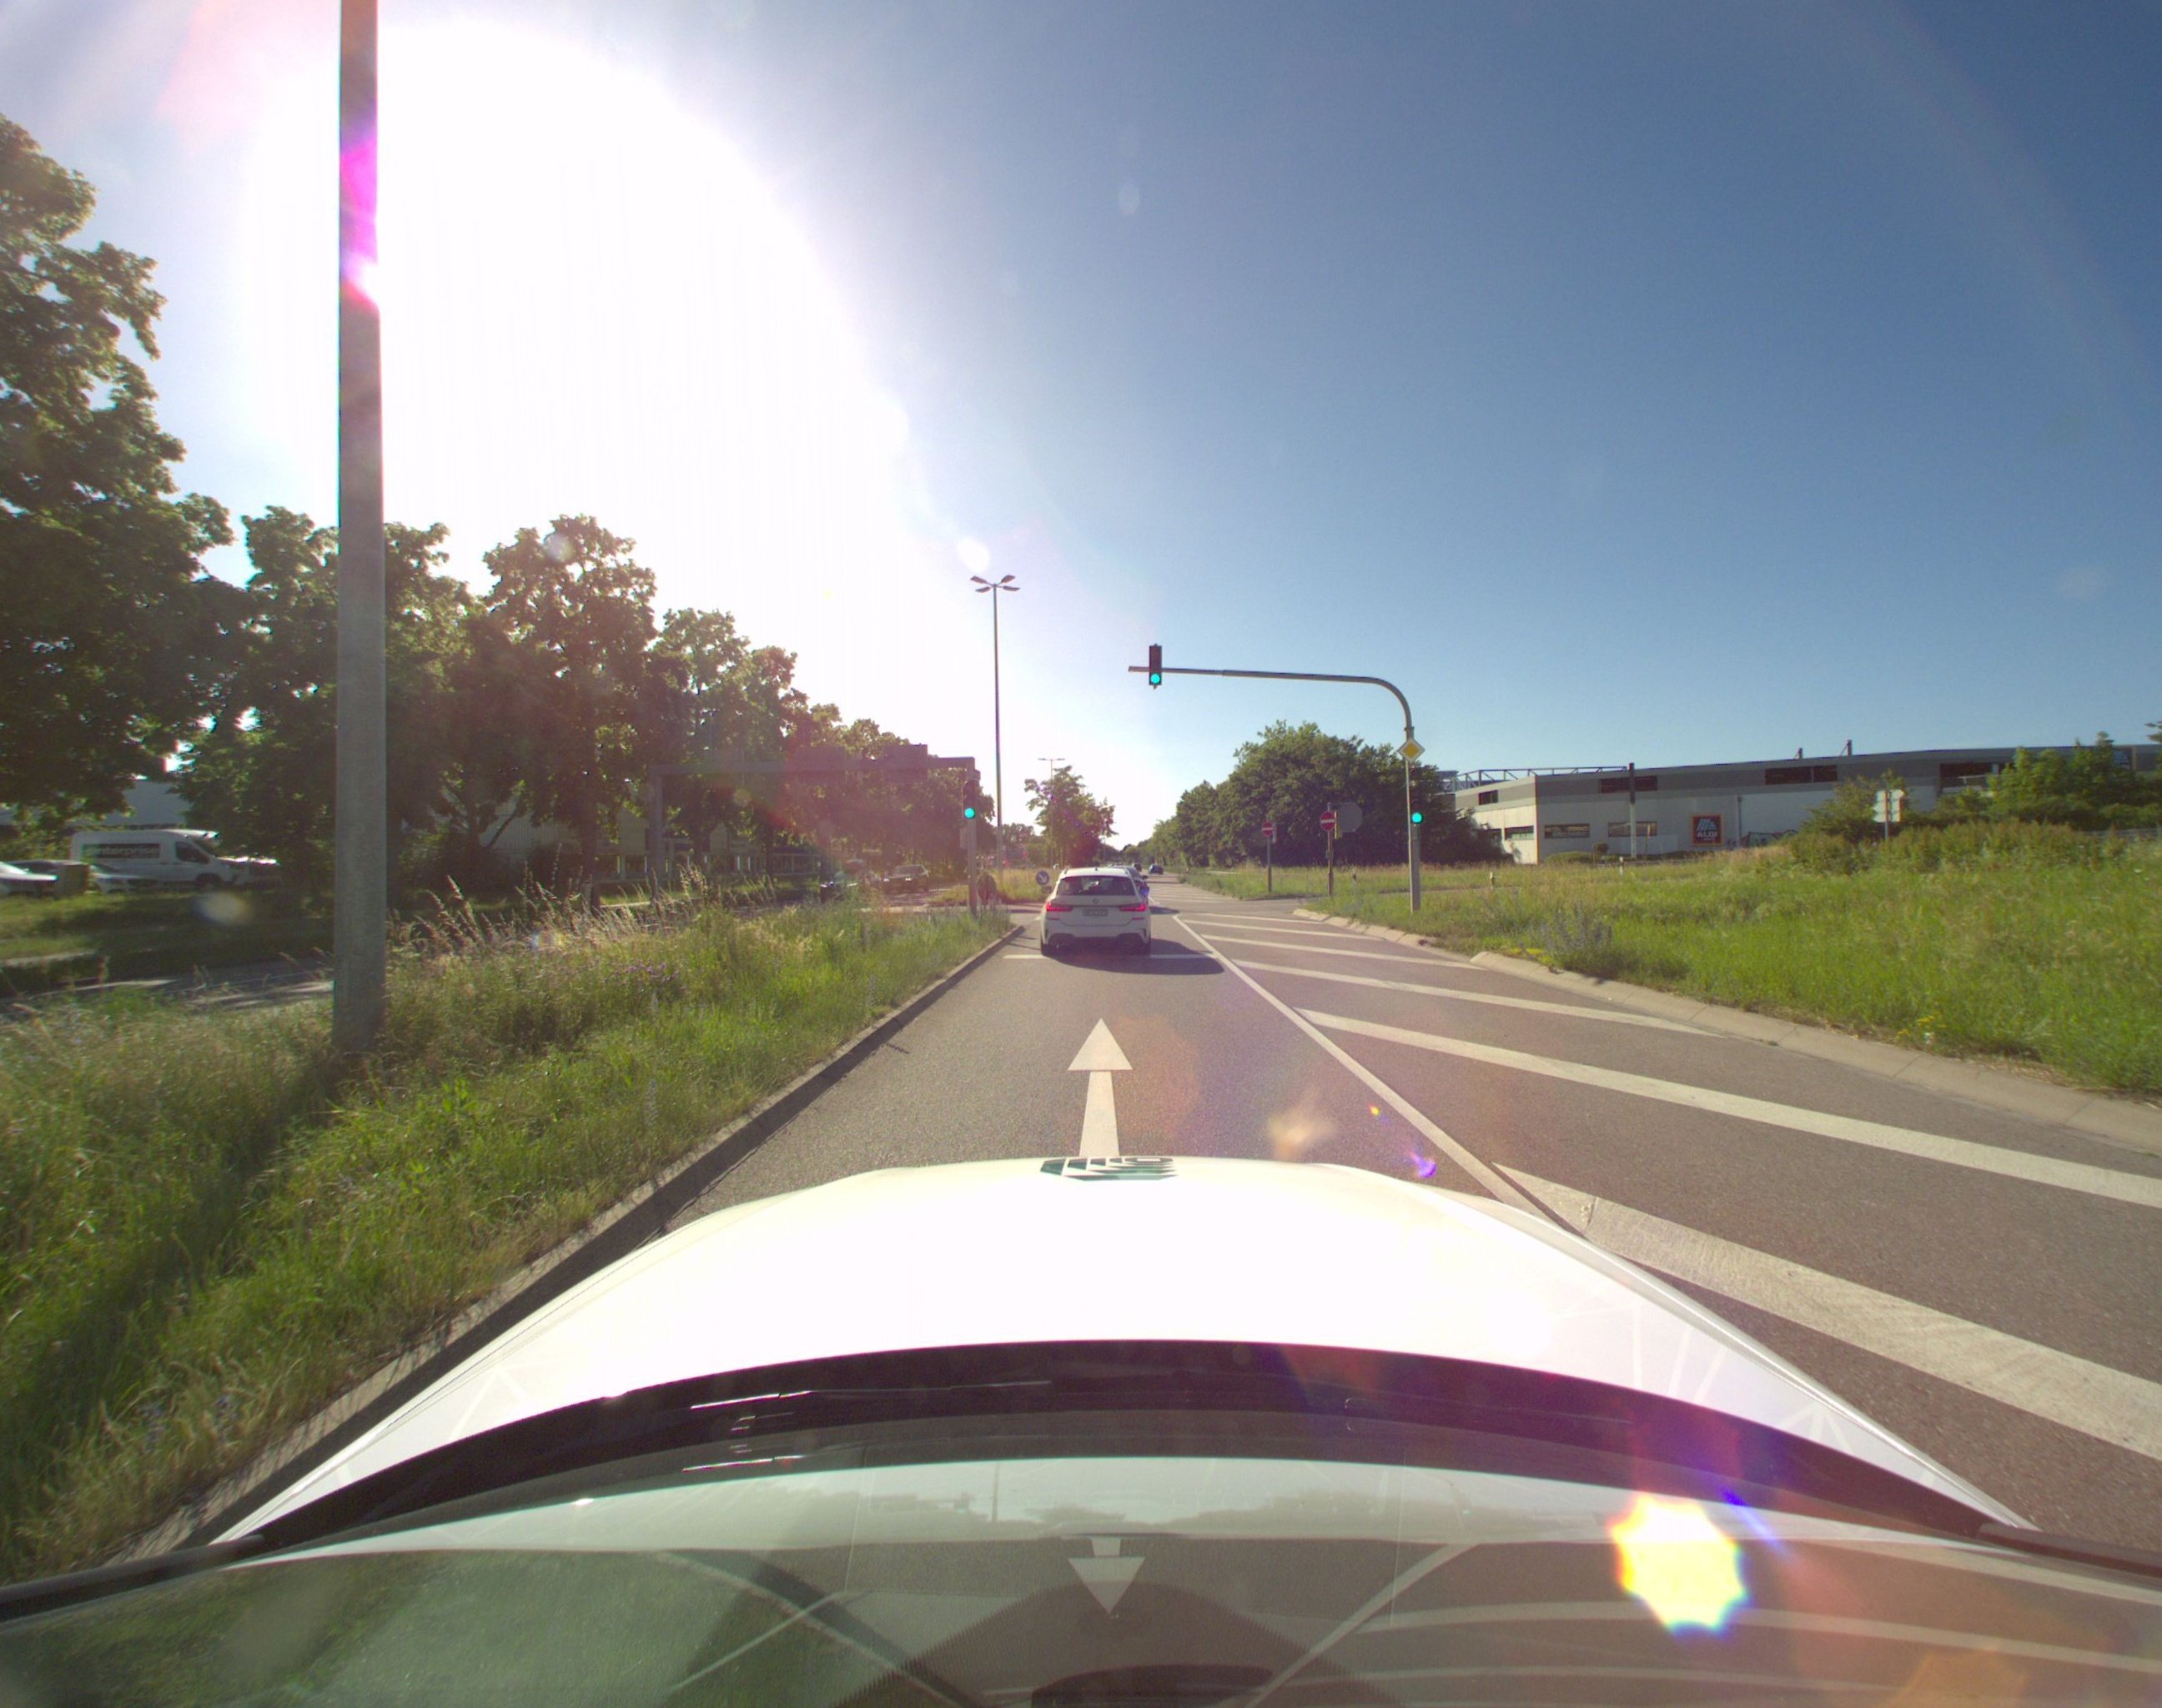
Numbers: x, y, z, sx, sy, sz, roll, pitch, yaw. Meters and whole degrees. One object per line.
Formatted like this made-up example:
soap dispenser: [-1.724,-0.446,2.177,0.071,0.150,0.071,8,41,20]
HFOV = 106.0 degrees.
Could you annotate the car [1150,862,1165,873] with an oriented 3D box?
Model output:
car: [10.687,1.923,113.686,1.855,1.499,4.337,-1,-1,1]

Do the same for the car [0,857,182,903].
car: [-33.319,0.862,27.274,4.107,1.388,1.945,-1,-1,-2]

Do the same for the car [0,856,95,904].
car: [-33.179,0.809,24.659,4.107,1.388,1.945,-1,-1,-2]

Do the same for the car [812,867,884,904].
car: [-11.005,1.430,38.826,1.869,1.543,4.574,-3,-1,2]

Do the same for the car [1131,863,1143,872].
car: [10.021,2.473,146.249,1.766,1.556,3.833,-1,-1,0]

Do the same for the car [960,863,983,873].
car: [-21.024,2.656,156.096,4.091,1.662,1.895,-2,-1,4]

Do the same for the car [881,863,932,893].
car: [-10.801,1.444,50.714,1.935,1.697,4.631,-3,0,2]

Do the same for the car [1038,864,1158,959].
car: [0.359,0.908,14.791,1.854,1.455,4.550,0,-1,2]

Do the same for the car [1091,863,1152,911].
car: [1.328,1.043,27.503,1.855,1.455,4.549,-1,-1,2]

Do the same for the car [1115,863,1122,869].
car: [10.408,3.248,224.081,1.855,1.565,4.549,-1,-1,2]

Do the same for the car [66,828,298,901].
car: [-32.804,0.373,29.868,5.861,2.433,2.205,-1,-1,-2]
